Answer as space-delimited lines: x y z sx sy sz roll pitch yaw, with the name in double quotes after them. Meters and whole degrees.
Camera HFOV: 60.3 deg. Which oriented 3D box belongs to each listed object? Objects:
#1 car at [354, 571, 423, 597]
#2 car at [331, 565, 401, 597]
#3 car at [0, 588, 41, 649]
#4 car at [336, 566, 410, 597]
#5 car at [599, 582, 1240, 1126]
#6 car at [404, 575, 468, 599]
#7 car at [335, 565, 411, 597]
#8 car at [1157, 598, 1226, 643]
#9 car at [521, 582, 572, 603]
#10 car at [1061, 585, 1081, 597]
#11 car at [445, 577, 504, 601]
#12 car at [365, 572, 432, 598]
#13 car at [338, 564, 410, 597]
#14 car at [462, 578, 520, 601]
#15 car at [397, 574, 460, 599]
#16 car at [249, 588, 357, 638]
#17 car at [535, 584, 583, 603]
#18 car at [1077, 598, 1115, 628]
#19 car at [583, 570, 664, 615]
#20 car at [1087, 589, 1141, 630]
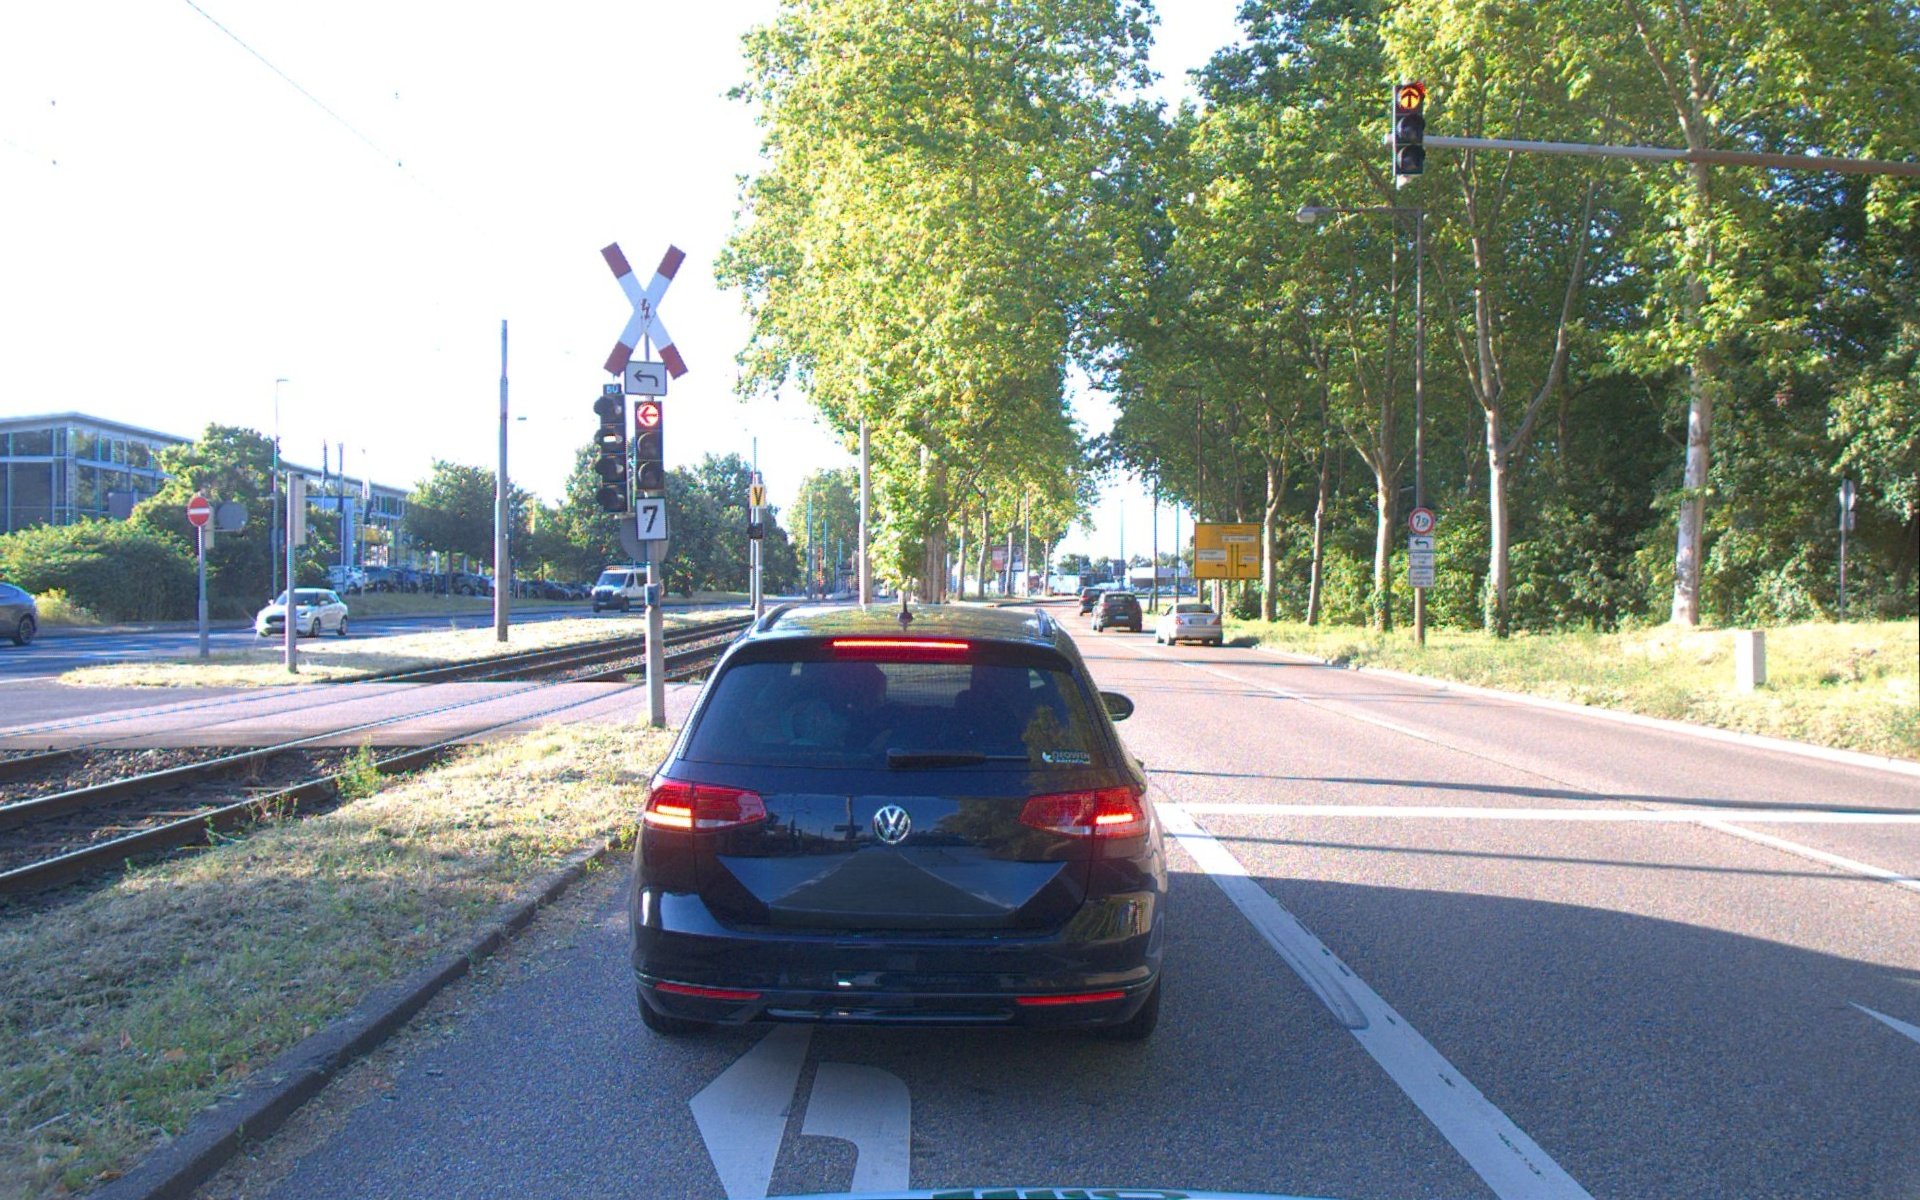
-35.206 -0.979 101.935 3.930 1.583 1.732 1 0 -22 "car"
-35.553 -1.150 99.020 3.930 1.848 1.732 1 0 -22 "car"
-25.236 0.474 41.641 1.823 1.507 4.172 1 1 1 "car"
-33.698 -1.055 94.956 3.930 1.734 1.732 1 0 -22 "car"
-0.143 0.706 6.394 1.758 1.490 3.582 1 0 -1 "car"
-36.044 -0.865 113.803 3.913 1.583 1.740 1 0 -9 "car"
-32.915 -1.045 92.718 3.930 1.734 1.732 1 0 -22 "car"
7.185 0.620 51.651 1.576 1.317 3.982 1 0 0 "car"
-34.556 -0.620 138.230 3.909 1.649 1.742 1 0 -6 "car"
13.487 -1.087 200.958 1.954 1.445 3.998 1 0 -3 "car"
-35.575 -0.809 121.257 3.909 1.649 1.742 1 0 -6 "car"
-35.547 -0.952 104.713 3.930 1.583 1.732 1 0 -22 "car"
-34.446 -1.118 97.282 3.930 1.848 1.732 1 0 -22 "car"
-35.245 -0.768 124.473 3.909 1.649 1.742 1 0 -6 "car"
-35.712 -0.886 111.108 3.930 1.583 1.732 1 0 -22 "car"
-21.063 0.385 53.204 1.824 1.507 4.092 1 1 0 "car"
-35.225 -0.561 145.376 3.909 1.649 1.742 1 0 -6 "car"
7.894 0.737 96.325 1.834 1.663 4.370 0 0 0 "car"
-19.577 -0.460 96.508 2.051 2.504 5.856 1 1 17 "car"
6.086 0.366 65.737 1.673 1.588 4.165 0 0 -1 "car"
